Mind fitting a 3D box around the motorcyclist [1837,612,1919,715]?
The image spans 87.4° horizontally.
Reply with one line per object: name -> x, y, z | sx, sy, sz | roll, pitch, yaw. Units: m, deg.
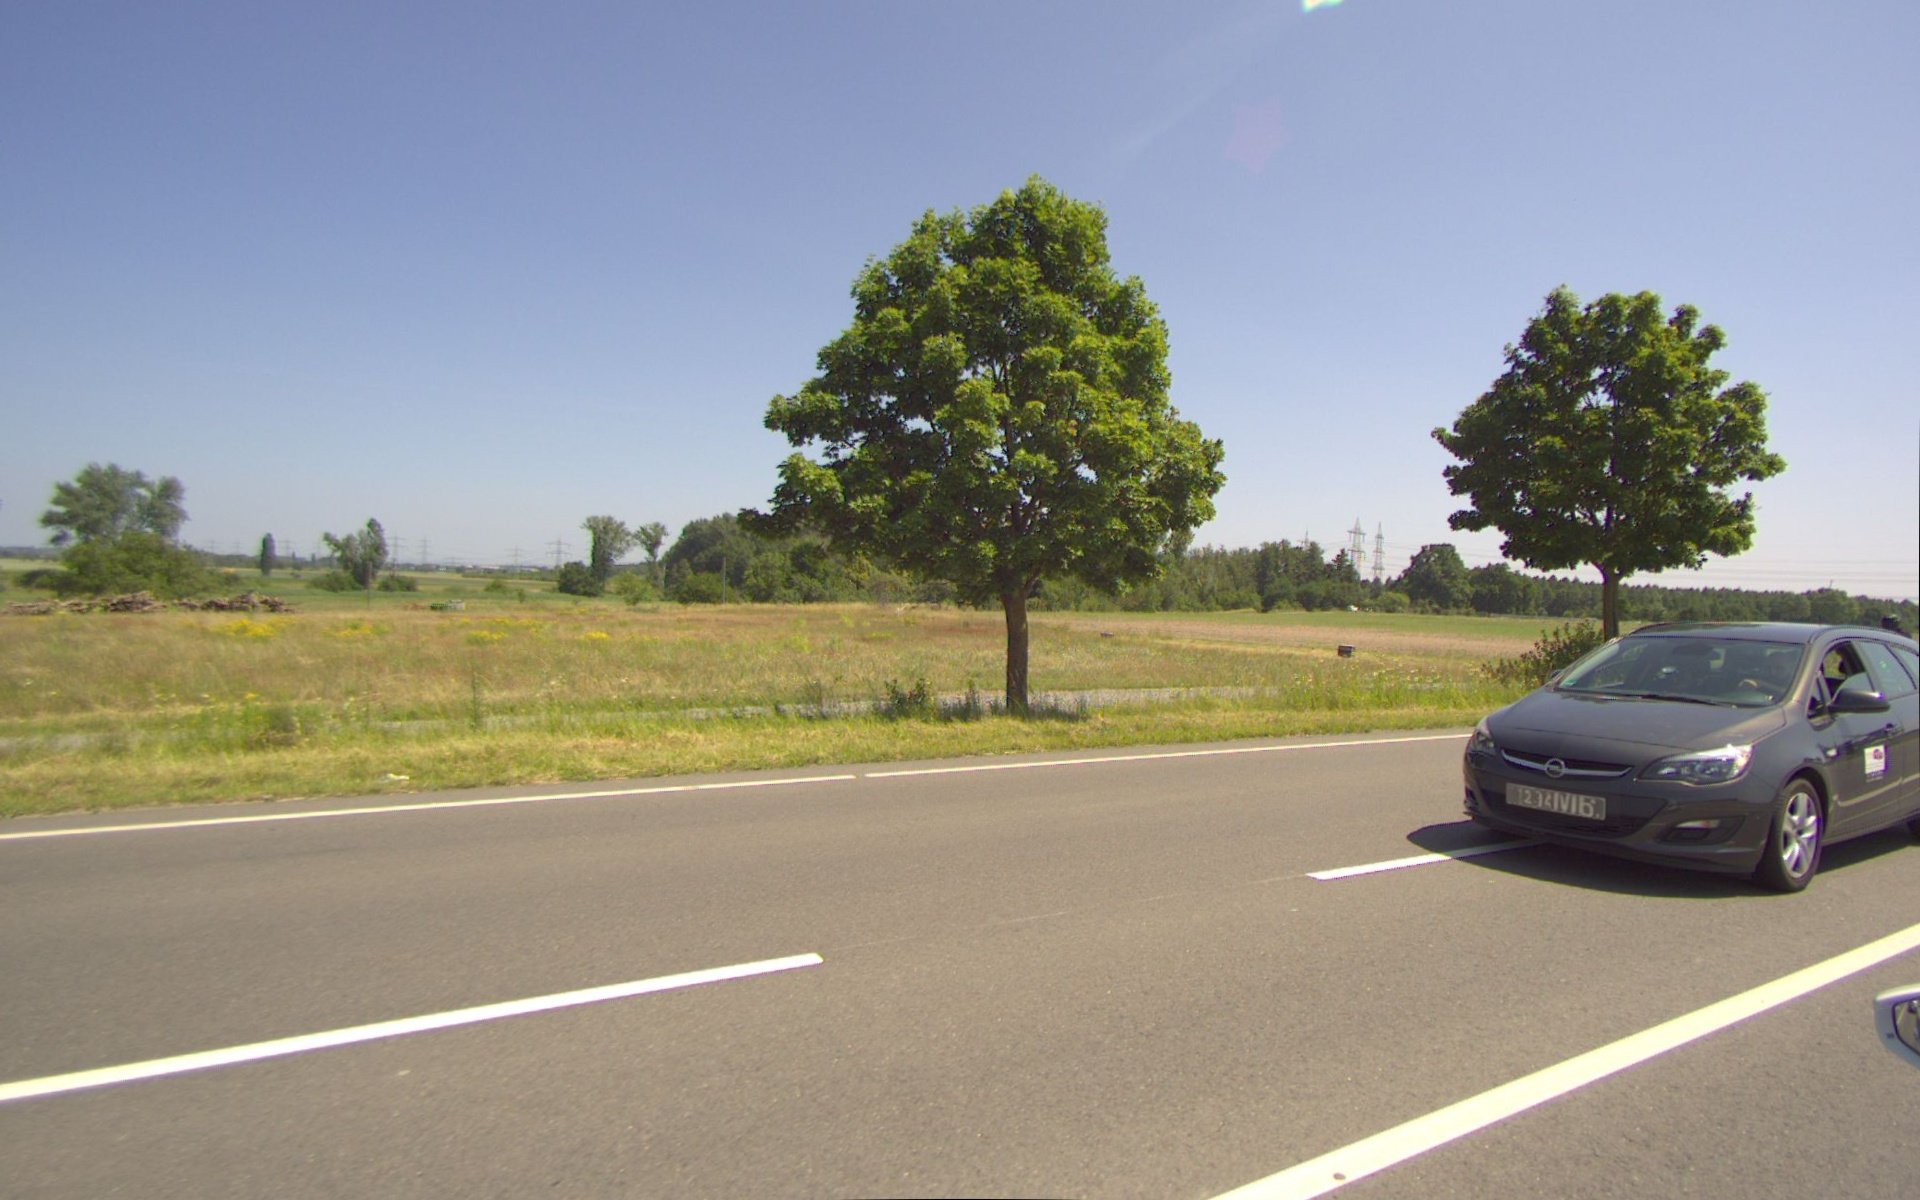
motorcyclist -> 16.171, 1.092, 17.636 | 1.076, 1.744, 0.849 | 1, 0, -30

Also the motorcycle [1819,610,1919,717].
motorcycle -> 16.153, 1.081, 17.630 | 2.417, 1.766, 0.884 | 1, 0, -31

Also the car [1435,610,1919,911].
car -> 5.487, 0.874, 7.026 | 4.567, 1.493, 1.730 | 2, 0, -32
